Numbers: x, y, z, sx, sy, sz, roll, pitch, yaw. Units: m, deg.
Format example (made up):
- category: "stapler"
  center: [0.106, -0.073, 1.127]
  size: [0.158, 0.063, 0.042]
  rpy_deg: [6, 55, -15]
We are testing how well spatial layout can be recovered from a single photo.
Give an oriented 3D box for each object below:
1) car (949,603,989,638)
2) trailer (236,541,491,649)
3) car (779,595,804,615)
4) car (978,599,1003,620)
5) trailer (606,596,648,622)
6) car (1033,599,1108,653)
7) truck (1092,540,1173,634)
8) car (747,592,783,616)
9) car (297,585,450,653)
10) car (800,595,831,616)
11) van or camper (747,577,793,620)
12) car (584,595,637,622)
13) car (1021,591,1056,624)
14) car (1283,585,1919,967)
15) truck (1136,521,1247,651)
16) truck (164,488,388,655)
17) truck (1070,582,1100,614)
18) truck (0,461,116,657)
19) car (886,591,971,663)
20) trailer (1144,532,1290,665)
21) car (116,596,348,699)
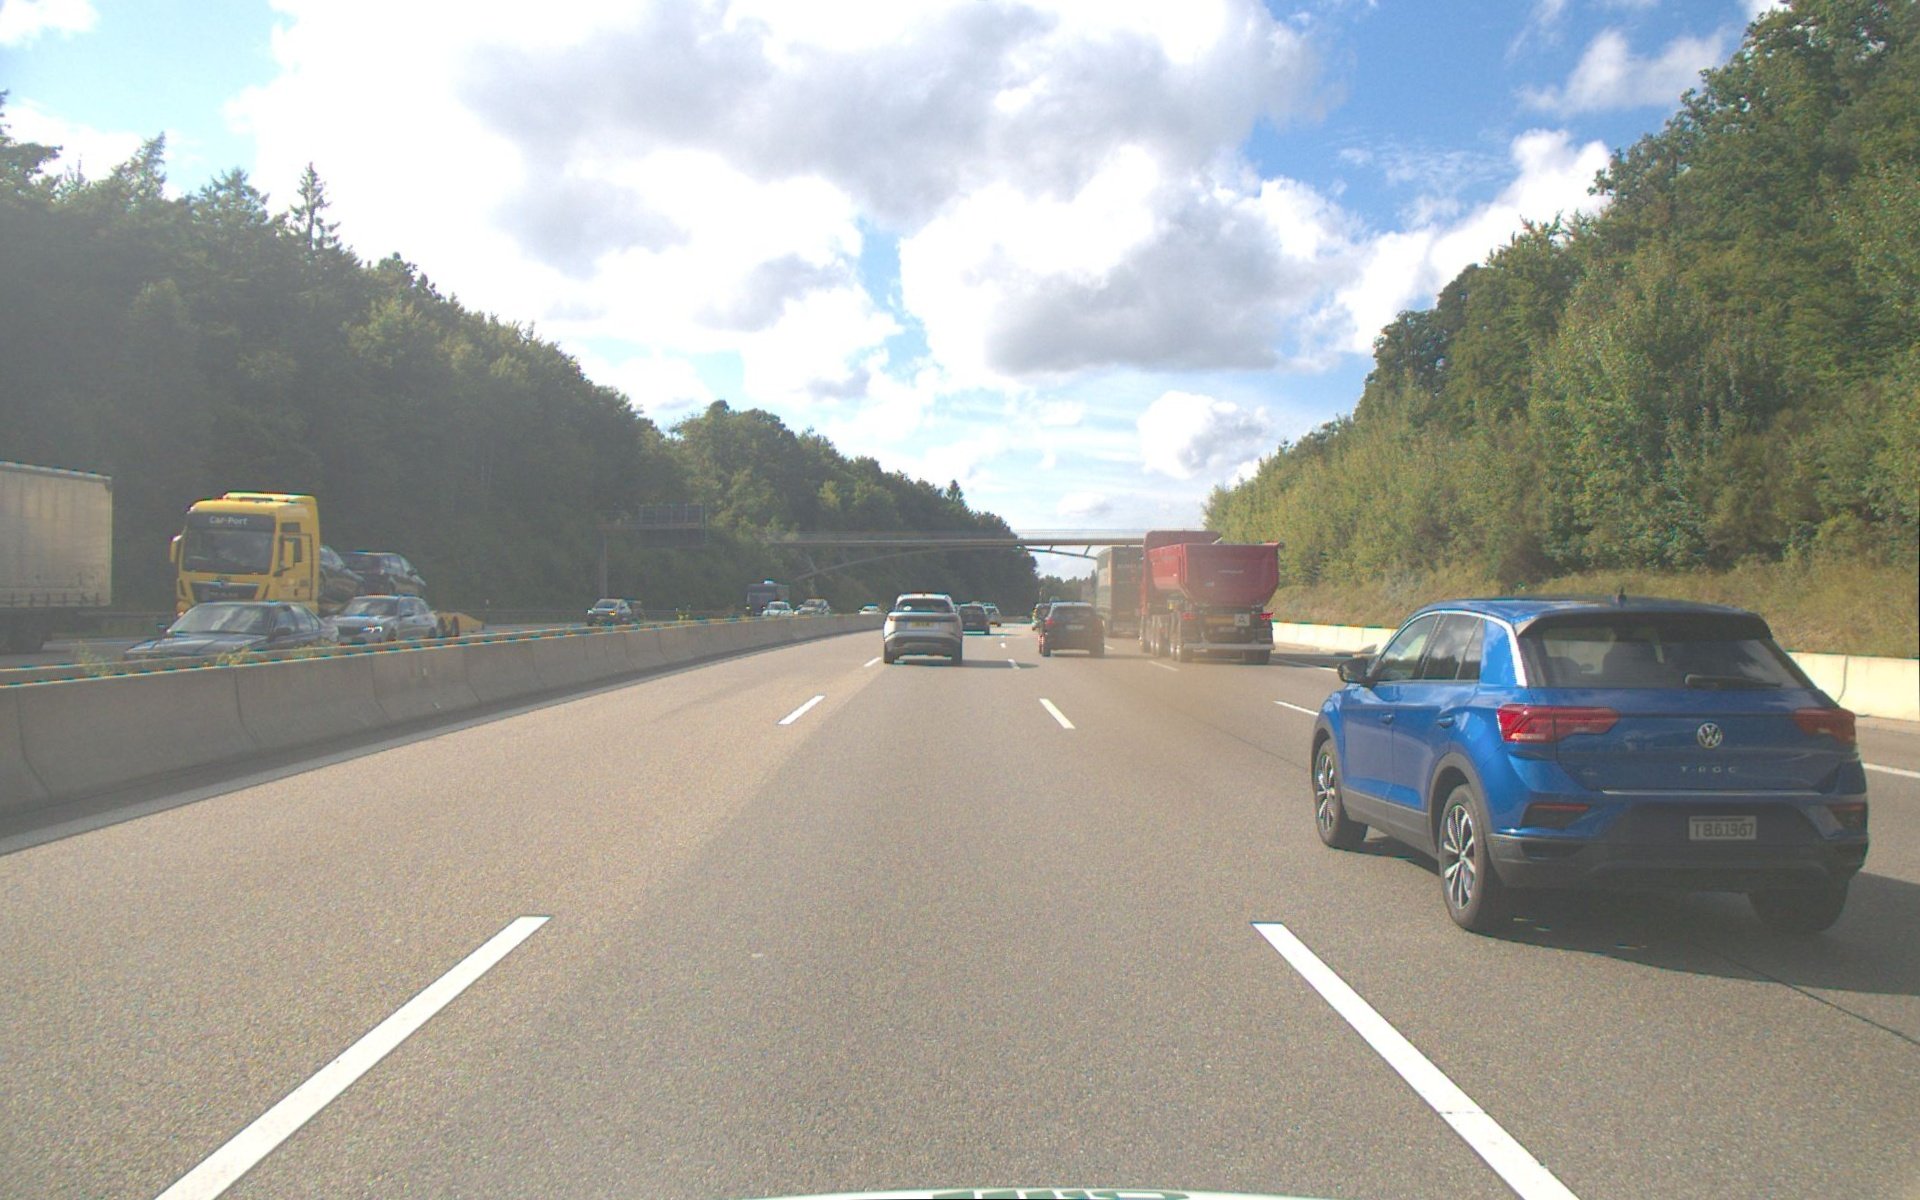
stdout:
- category: "car"
  center: [0.459, 0.982, 79.960]
  size: [1.784, 1.573, 4.001]
  rpy_deg: [2, 0, 2]
- category: "trailer"
  center: [-17.292, -0.142, 49.365]
  size: [2.719, 2.767, 13.312]
  rpy_deg: [1, 0, 0]
- category: "car"
  center: [-15.322, 0.418, 150.741]
  size: [1.807, 1.774, 4.259]
  rpy_deg: [1, 0, 1]
- category: "car"
  center: [2.232, 0.657, 120.087]
  size: [1.784, 1.483, 4.001]
  rpy_deg: [1, 0, 1]
- category: "trailer"
  center: [-18.965, 0.481, 94.380]
  size: [1.624, 1.438, 3.710]
  rpy_deg: [1, 0, 0]
- category: "car"
  center: [3.141, 0.716, 47.629]
  size: [1.785, 1.483, 3.999]
  rpy_deg: [1, 0, -1]
- category: "truck"
  center: [7.882, -0.580, 76.860]
  size: [3.053, 4.003, 10.414]
  rpy_deg: [1, 0, 2]
- category: "car"
  center: [-12.697, 0.245, 107.925]
  size: [1.777, 1.562, 4.316]
  rpy_deg: [1, 0, 1]
- category: "car"
  center: [-13.936, 0.424, 39.653]
  size: [1.953, 1.512, 4.982]
  rpy_deg: [1, 0, -1]
- category: "car"
  center: [-10.813, 0.403, 123.922]
  size: [1.883, 1.567, 4.702]
  rpy_deg: [1, 0, 1]
- category: "van or camper"
  center: [-14.395, -0.105, 125.873]
  size: [2.506, 3.180, 7.334]
  rpy_deg: [1, 0, 1]
- category: "car"
  center: [-18.988, 0.447, 90.032]
  size: [1.775, 1.414, 4.937]
  rpy_deg: [1, 0, 1]
- category: "car"
  center: [4.598, 0.421, 97.380]
  size: [1.855, 1.889, 4.100]
  rpy_deg: [1, 0, 0]
- category: "car"
  center: [3.132, 0.712, 9.060]
  size: [1.737, 1.557, 4.456]
  rpy_deg: [0, 0, -2]
- category: "truck"
  center: [7.081, -0.411, 51.276]
  size: [2.654, 3.784, 5.818]
  rpy_deg: [1, 0, 1]
- category: "truck"
  center: [-17.299, -0.683, 42.404]
  size: [2.719, 3.877, 7.134]
  rpy_deg: [1, 0, 0]
- category: "truck"
  center: [12.186, -0.177, 160.469]
  size: [2.784, 2.976, 8.390]
  rpy_deg: [1, 0, 5]
- category: "truck"
  center: [-21.651, -0.882, 33.152]
  size: [2.651, 4.139, 13.089]
  rpy_deg: [1, 0, 0]
- category: "car"
  center: [-0.730, 0.613, 41.080]
  size: [1.965, 1.644, 5.301]
  rpy_deg: [1, 0, 0]
- category: "trailer"
  center: [6.992, -0.052, 46.360]
  size: [2.654, 3.288, 9.733]
  rpy_deg: [1, 0, 1]
- category: "car"
  center: [-10.353, 0.624, 23.863]
  size: [1.650, 1.330, 4.195]
  rpy_deg: [1, 0, -3]
